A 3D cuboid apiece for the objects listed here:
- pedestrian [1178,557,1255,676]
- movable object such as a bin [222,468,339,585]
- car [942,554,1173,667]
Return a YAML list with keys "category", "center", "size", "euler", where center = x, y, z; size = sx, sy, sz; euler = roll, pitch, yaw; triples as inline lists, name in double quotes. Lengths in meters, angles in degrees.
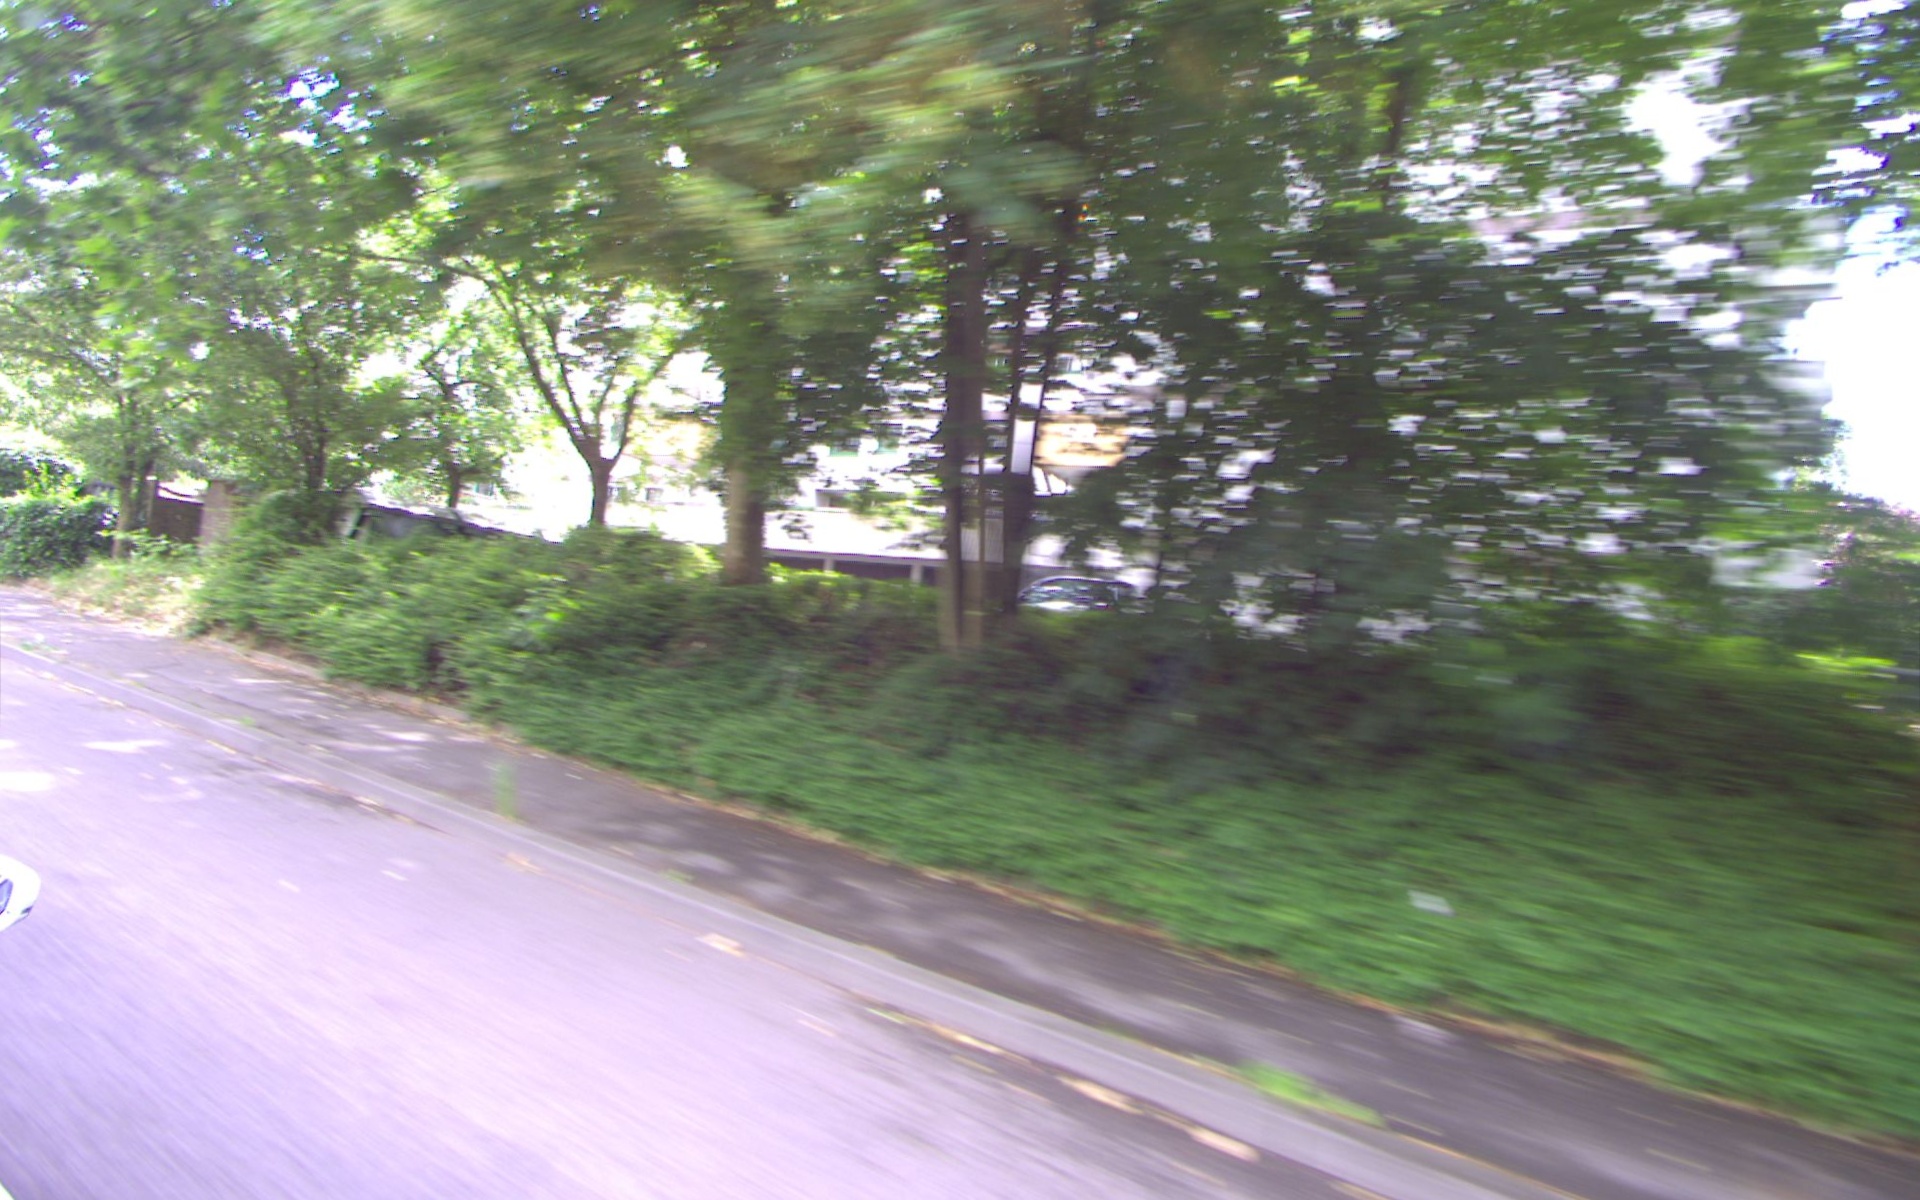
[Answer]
- category: "pedestrian"
  center: [3.842, 0.250, 15.043]
  size: [0.755, 1.652, 0.669]
  euler: [7, -1, 32]
- category: "movable object such as a bin"
  center: [-9.858, -1.064, 14.591]
  size: [1.281, 1.495, 0.799]
  euler: [7, -1, 31]
- category: "car"
  center: [1.658, 0.166, 17.393]
  size: [3.490, 1.477, 1.660]
  euler: [7, -1, 33]
